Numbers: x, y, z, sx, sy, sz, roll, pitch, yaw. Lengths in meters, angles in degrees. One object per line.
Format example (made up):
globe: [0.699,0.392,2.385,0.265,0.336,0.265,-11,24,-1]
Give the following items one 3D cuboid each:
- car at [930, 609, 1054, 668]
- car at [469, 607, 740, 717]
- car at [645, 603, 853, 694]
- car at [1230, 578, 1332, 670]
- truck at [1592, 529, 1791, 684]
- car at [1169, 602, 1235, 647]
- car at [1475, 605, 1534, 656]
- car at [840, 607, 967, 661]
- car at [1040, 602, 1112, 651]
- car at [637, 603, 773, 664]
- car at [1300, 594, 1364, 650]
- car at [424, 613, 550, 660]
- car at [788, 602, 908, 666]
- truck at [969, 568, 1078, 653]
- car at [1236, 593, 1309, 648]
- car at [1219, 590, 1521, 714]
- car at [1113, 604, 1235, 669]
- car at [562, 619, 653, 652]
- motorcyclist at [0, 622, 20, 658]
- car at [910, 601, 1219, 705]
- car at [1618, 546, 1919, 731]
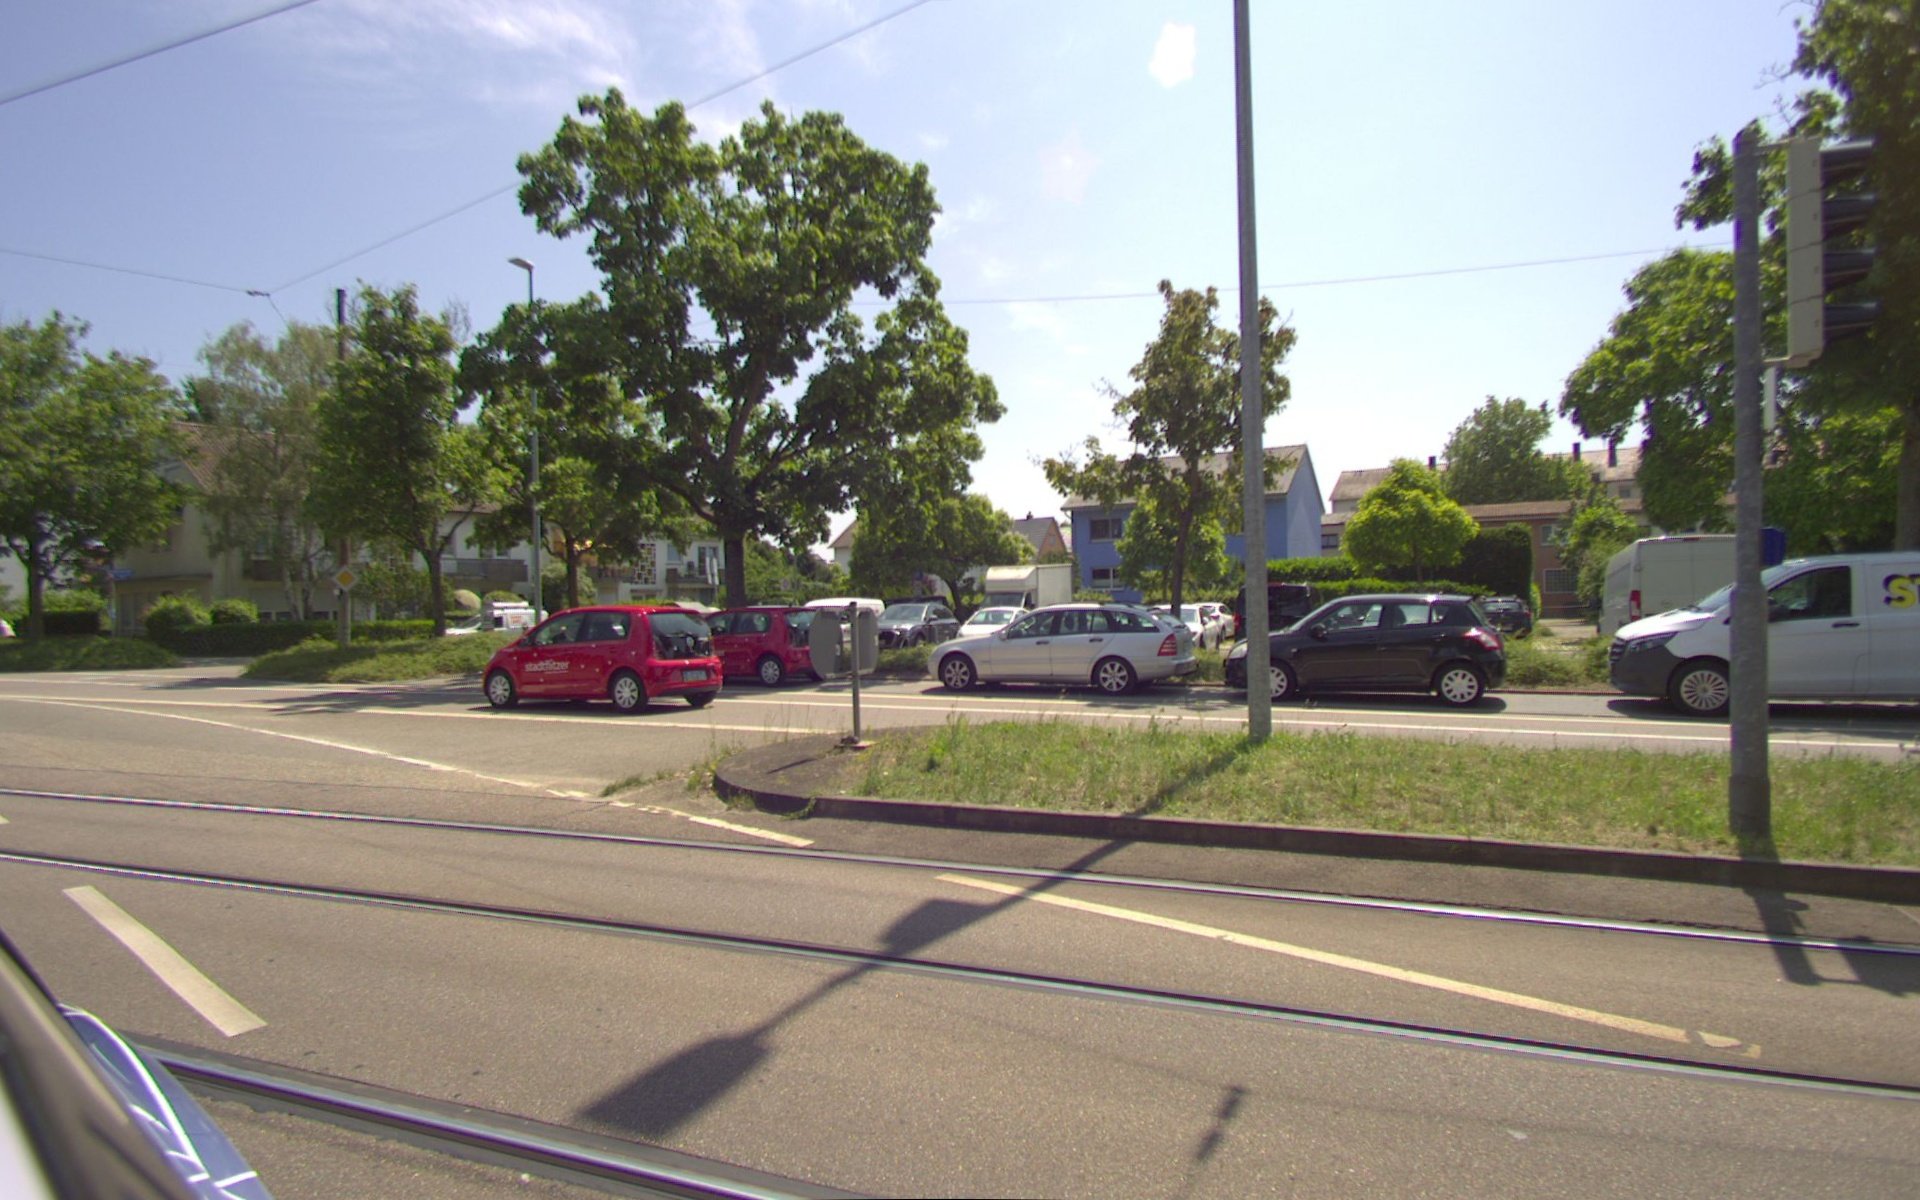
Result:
car: [0.993,1.051,28.705,1.923,1.520,4.096,-2,-1,28]
car: [-5.109,0.854,14.541,3.586,1.420,1.648,-1,-2,26]
car: [-4.060,0.891,19.382,3.710,1.557,1.661,-1,1,29]
car: [7.829,0.559,24.469,1.846,2.010,4.189,-2,-1,24]
truck: [15.015,0.161,21.184,2.420,2.780,5.545,-2,-1,27]
car: [9.369,0.897,38.960,1.723,1.587,3.727,-2,0,25]
car: [18.223,0.992,34.002,1.501,1.530,4.105,-2,0,26]
car: [-1.520,0.925,29.001,2.067,1.414,4.179,-2,-1,22]
car: [4.745,1.032,40.916,1.638,1.834,4.106,-2,0,25]
car: [-8.344,1.079,33.520,2.049,1.871,4.425,-2,-1,25]
car: [13.089,0.737,35.514,1.730,1.834,4.106,-2,0,25]
car: [-18.609,1.393,39.979,1.740,1.719,4.177,-2,-1,41]
car: [-3.408,1.012,31.535,1.664,1.849,4.242,-2,-1,27]
truck: [2.781,0.391,42.023,2.138,3.252,6.943,-2,0,24]
car: [11.311,0.699,36.503,1.960,1.834,4.106,-1,0,25]
car: [5.793,0.696,14.420,3.767,1.495,1.604,-1,3,29]
car: [5.528,0.874,25.653,2.046,1.500,4.737,-2,-1,24]
car: [-16.410,1.626,47.268,1.542,1.404,3.862,-2,-1,34]
motorcyclist: [-40.932,1.725,43.431,0.659,1.514,0.583,-2,2,27]
car: [1.689,0.840,16.638,4.742,1.437,1.711,-2,3,25]
car: [10.672,0.394,11.843,4.783,1.951,1.851,-1,3,29]
